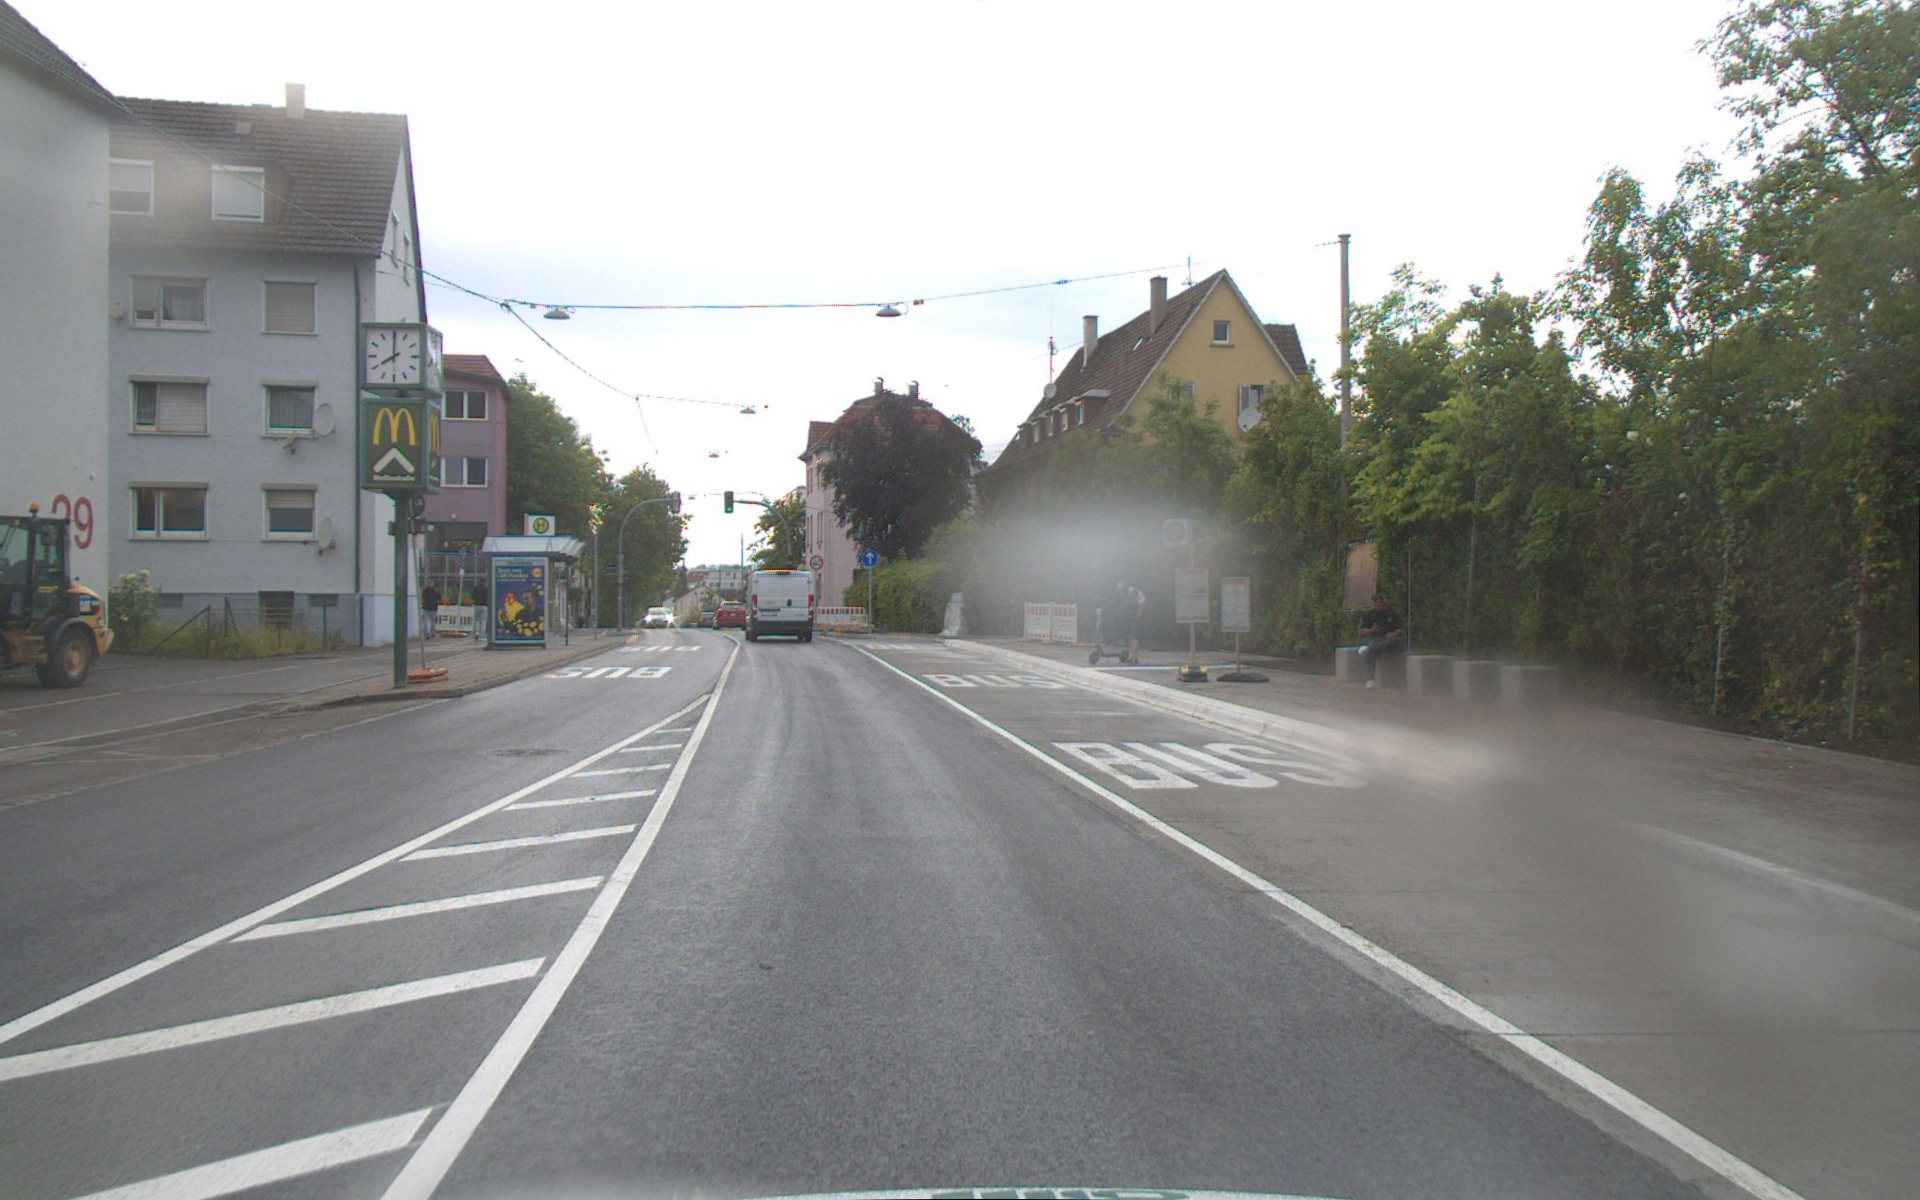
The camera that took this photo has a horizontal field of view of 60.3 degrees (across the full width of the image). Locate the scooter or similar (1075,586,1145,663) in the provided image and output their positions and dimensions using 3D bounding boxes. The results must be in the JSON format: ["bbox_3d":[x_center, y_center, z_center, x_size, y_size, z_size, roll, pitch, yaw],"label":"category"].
[{"bbox_3d":[2.976,0.470,32.690,1.543,1.430,0.490,-3,4,-43],"label":"scooter or similar"}]

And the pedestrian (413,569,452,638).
[{"bbox_3d":[-16.281,0.101,51.047,1.061,2.048,1.048,0,2,-15],"label":"pedestrian"}]

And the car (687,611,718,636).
[{"bbox_3d":[-19.958,1.776,128.084,2.197,1.836,4.700,1,0,-11],"label":"car"}]

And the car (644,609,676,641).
[{"bbox_3d":[-19.424,1.582,107.094,1.958,1.824,3.990,1,2,-12],"label":"car"}]

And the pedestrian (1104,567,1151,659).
[{"bbox_3d":[3.311,0.251,32.713,0.886,1.761,0.654,1,2,4],"label":"pedestrian"}]

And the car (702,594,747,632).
[{"bbox_3d":[-12.140,0.652,84.989,2.196,1.685,4.704,1,2,-10],"label":"car"}]

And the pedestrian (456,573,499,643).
[{"bbox_3d":[-14.569,0.242,49.955,1.186,2.048,1.048,0,2,-15],"label":"pedestrian"}]

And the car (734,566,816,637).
[{"bbox_3d":[-6.171,0.034,54.758,2.198,2.252,4.698,0,0,-13],"label":"car"}]

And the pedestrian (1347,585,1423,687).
[{"bbox_3d":[6.145,0.503,23.989,0.860,1.391,1.066,1,2,4],"label":"pedestrian"}]

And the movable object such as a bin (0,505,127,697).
[{"bbox_3d":[-14.546,-0.036,24.417,1.952,2.729,4.631,1,2,3],"label":"movable object such as a bin"}]
